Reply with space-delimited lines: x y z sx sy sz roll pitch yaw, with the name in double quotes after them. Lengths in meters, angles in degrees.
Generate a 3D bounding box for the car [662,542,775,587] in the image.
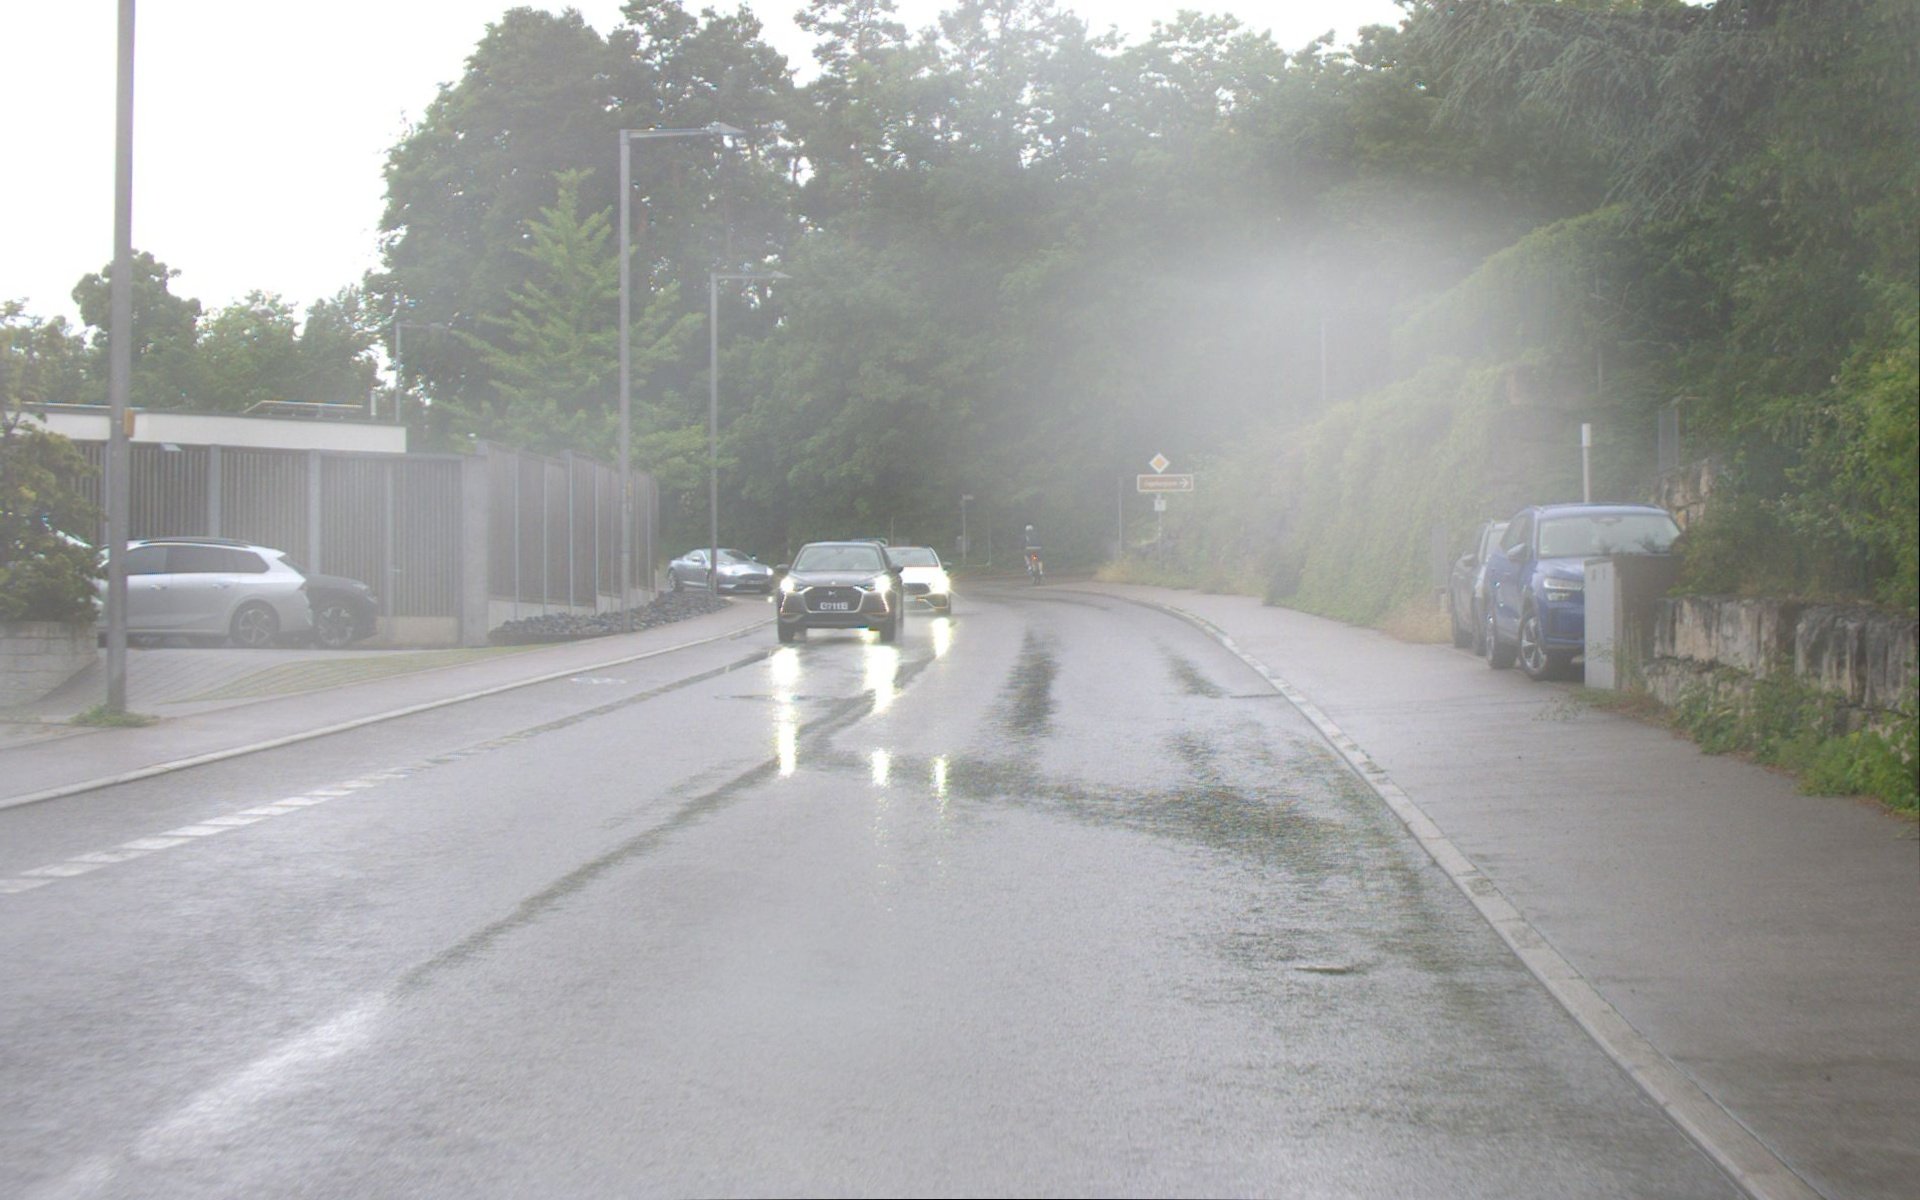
-7.046 -1.043 99.975 1.732 1.229 3.809 0 1 -31 "car"

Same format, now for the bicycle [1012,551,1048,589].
2.070 -0.896 101.648 0.527 1.081 1.621 1 1 -18 "bicycle"

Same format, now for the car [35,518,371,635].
-10.731 -0.337 48.785 4.279 1.595 1.838 0 1 -32 "car"

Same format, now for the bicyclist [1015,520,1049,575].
2.113 -1.562 101.530 0.720 1.609 0.905 1 1 -18 "bicyclist"

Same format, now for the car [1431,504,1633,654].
6.573 -0.266 39.845 1.810 1.558 4.010 -3 1 3 "car"

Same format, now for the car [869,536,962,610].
-0.892 -0.584 71.038 1.847 1.455 4.268 1 1 0 "car"

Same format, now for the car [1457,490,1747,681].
6.223 -0.169 33.851 1.993 1.664 4.544 -3 1 1 "car"

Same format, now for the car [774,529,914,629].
-1.746 -0.347 52.951 1.851 1.464 3.699 1 1 3 "car"

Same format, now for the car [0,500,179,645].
-10.961 -0.318 38.092 4.046 1.568 1.942 0 1 -40 "car"

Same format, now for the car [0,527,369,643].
-10.337 -0.192 45.766 4.519 1.437 1.761 1 1 -36 "car"
